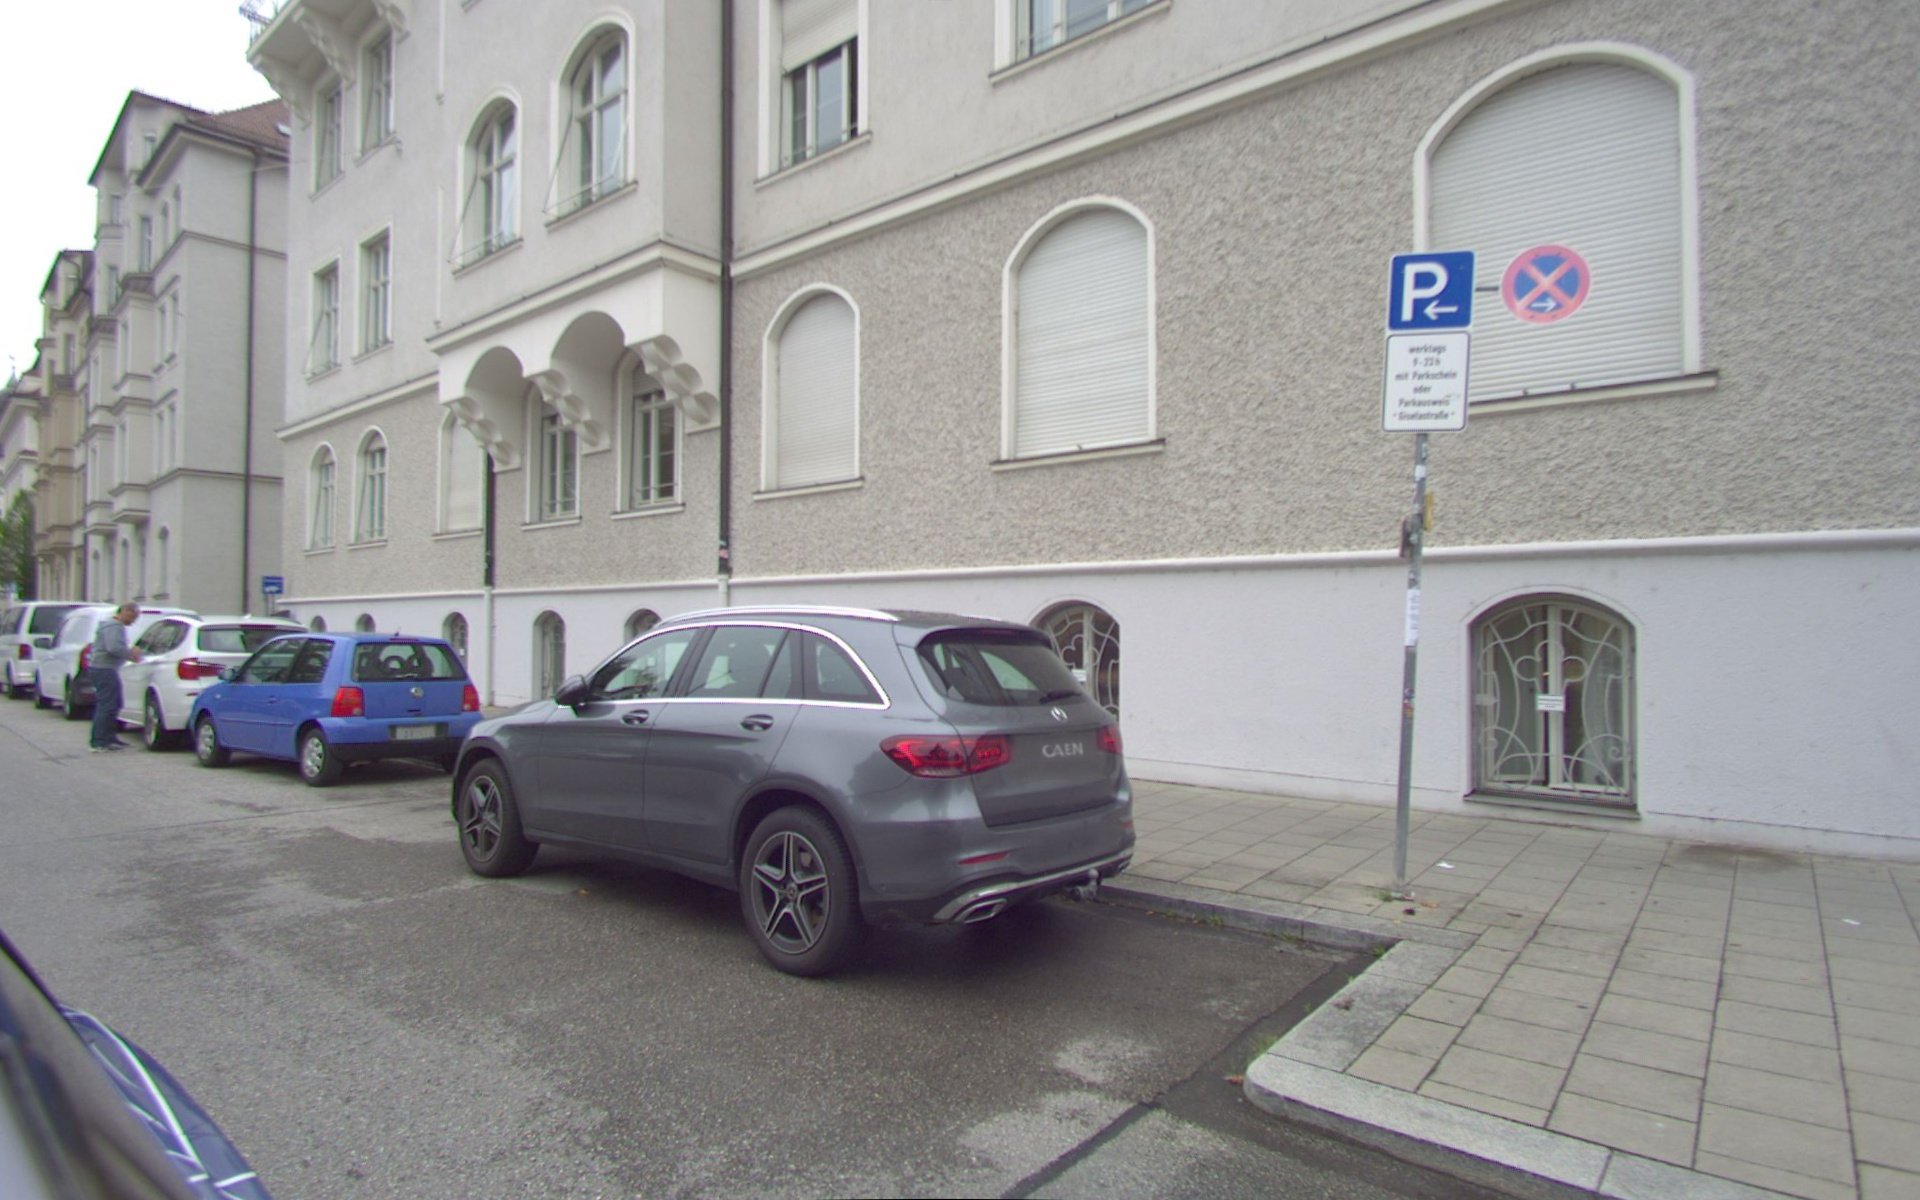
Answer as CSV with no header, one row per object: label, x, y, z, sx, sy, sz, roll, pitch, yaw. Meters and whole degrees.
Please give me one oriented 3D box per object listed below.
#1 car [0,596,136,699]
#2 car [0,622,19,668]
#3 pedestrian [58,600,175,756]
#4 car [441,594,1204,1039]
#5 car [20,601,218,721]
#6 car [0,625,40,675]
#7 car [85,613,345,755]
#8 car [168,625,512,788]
car,-19.320,0.981,21.523,4.953,1.953,1.837,-1,-3,40
car,-33.144,1.465,33.925,4.376,1.475,1.836,-1,-3,41
pedestrian,-10.107,0.895,12.129,0.876,1.769,0.951,-1,-2,42
car,-1.060,0.850,5.803,4.492,1.614,1.729,-1,-3,39
car,-14.645,0.988,17.512,5.033,1.802,1.729,-1,-3,40
car,-29.383,1.467,30.544,4.376,1.423,1.836,-1,-4,41
car,-10.131,1.026,13.635,4.492,1.614,1.729,-1,-3,39
car,-6.630,1.011,10.754,3.652,1.425,1.678,-1,-3,33
